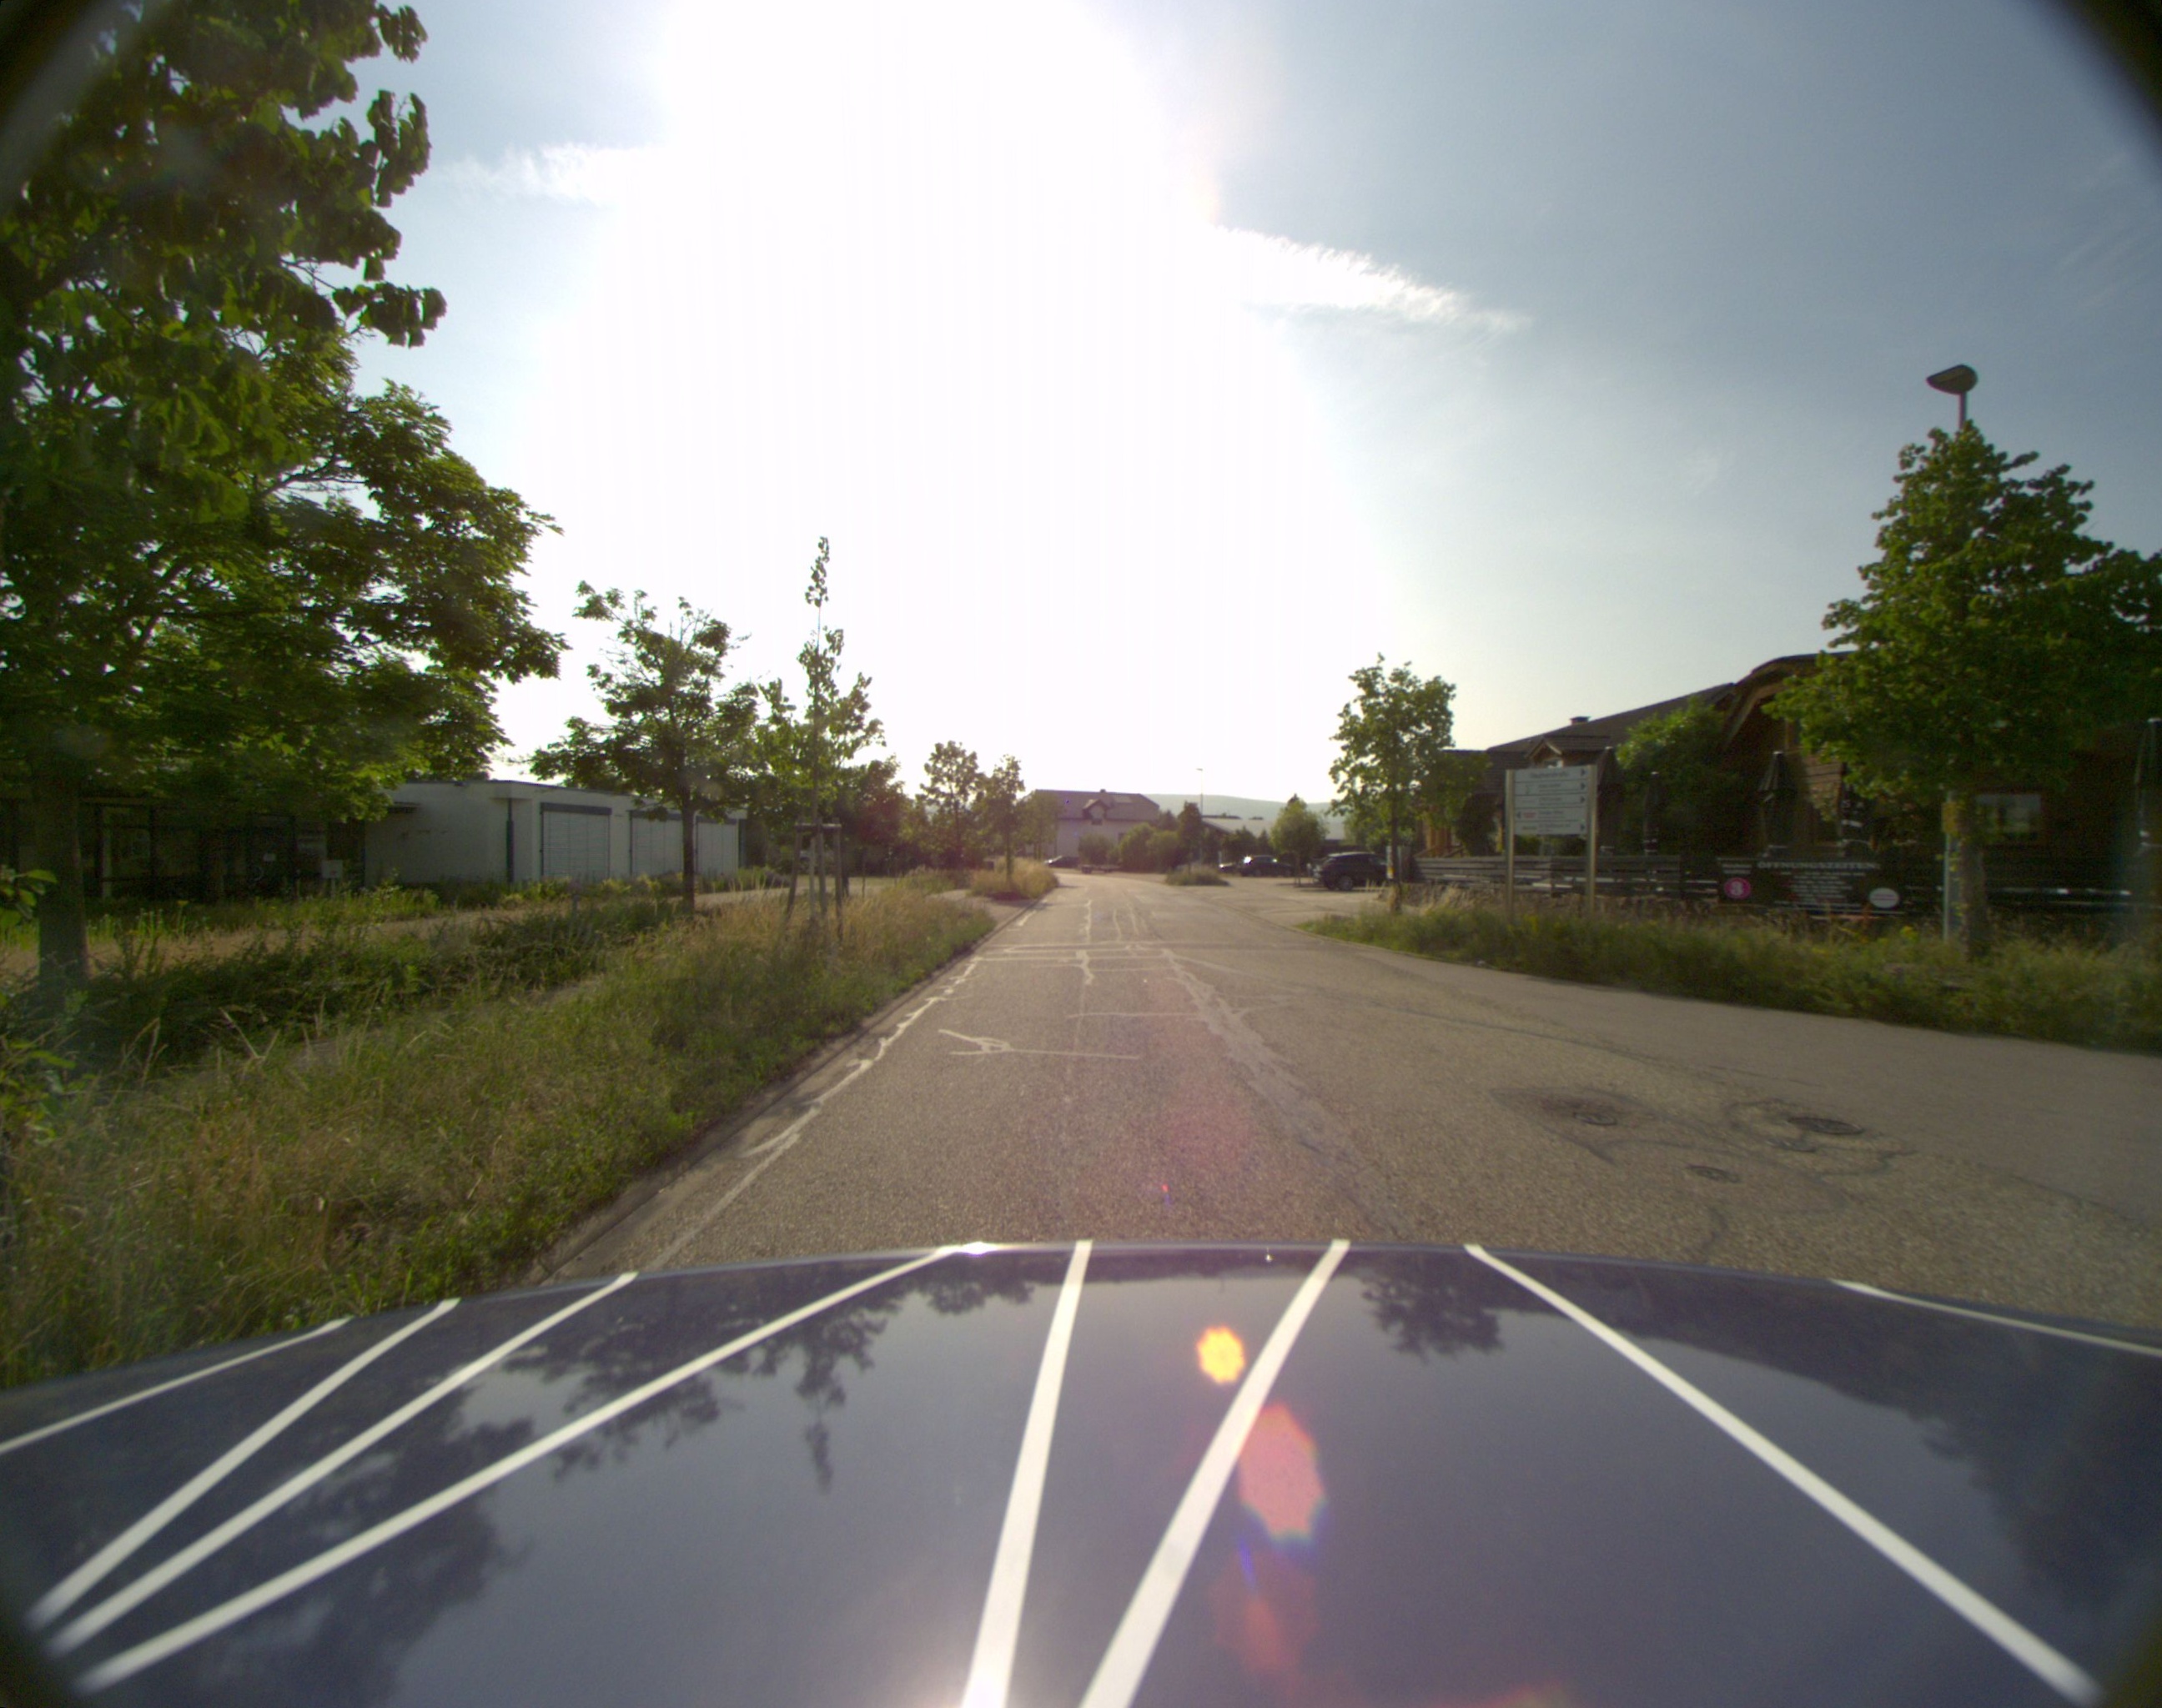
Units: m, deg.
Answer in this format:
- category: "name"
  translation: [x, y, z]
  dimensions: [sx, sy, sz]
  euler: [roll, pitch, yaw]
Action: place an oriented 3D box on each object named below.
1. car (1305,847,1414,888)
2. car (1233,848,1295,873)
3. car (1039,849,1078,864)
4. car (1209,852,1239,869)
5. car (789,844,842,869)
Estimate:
- category: "car"
  translation: [12.013, 0.562, 32.997]
  dimensions: [3.996, 1.718, 2.000]
  euler: [0, 0, 2]
- category: "car"
  translation: [13.450, 0.480, 55.774]
  dimensions: [4.004, 1.783, 1.996]
  euler: [0, 1, -20]
- category: "car"
  translation: [-2.554, 0.292, 87.434]
  dimensions: [4.005, 1.761, 1.996]
  euler: [0, 1, -23]
- category: "car"
  translation: [12.331, 0.553, 65.574]
  dimensions: [1.615, 1.472, 3.549]
  euler: [0, 0, -6]
- category: "car"
  translation: [-18.999, 0.129, 54.454]
  dimensions: [1.598, 1.672, 3.761]
  euler: [-2, 1, 17]
